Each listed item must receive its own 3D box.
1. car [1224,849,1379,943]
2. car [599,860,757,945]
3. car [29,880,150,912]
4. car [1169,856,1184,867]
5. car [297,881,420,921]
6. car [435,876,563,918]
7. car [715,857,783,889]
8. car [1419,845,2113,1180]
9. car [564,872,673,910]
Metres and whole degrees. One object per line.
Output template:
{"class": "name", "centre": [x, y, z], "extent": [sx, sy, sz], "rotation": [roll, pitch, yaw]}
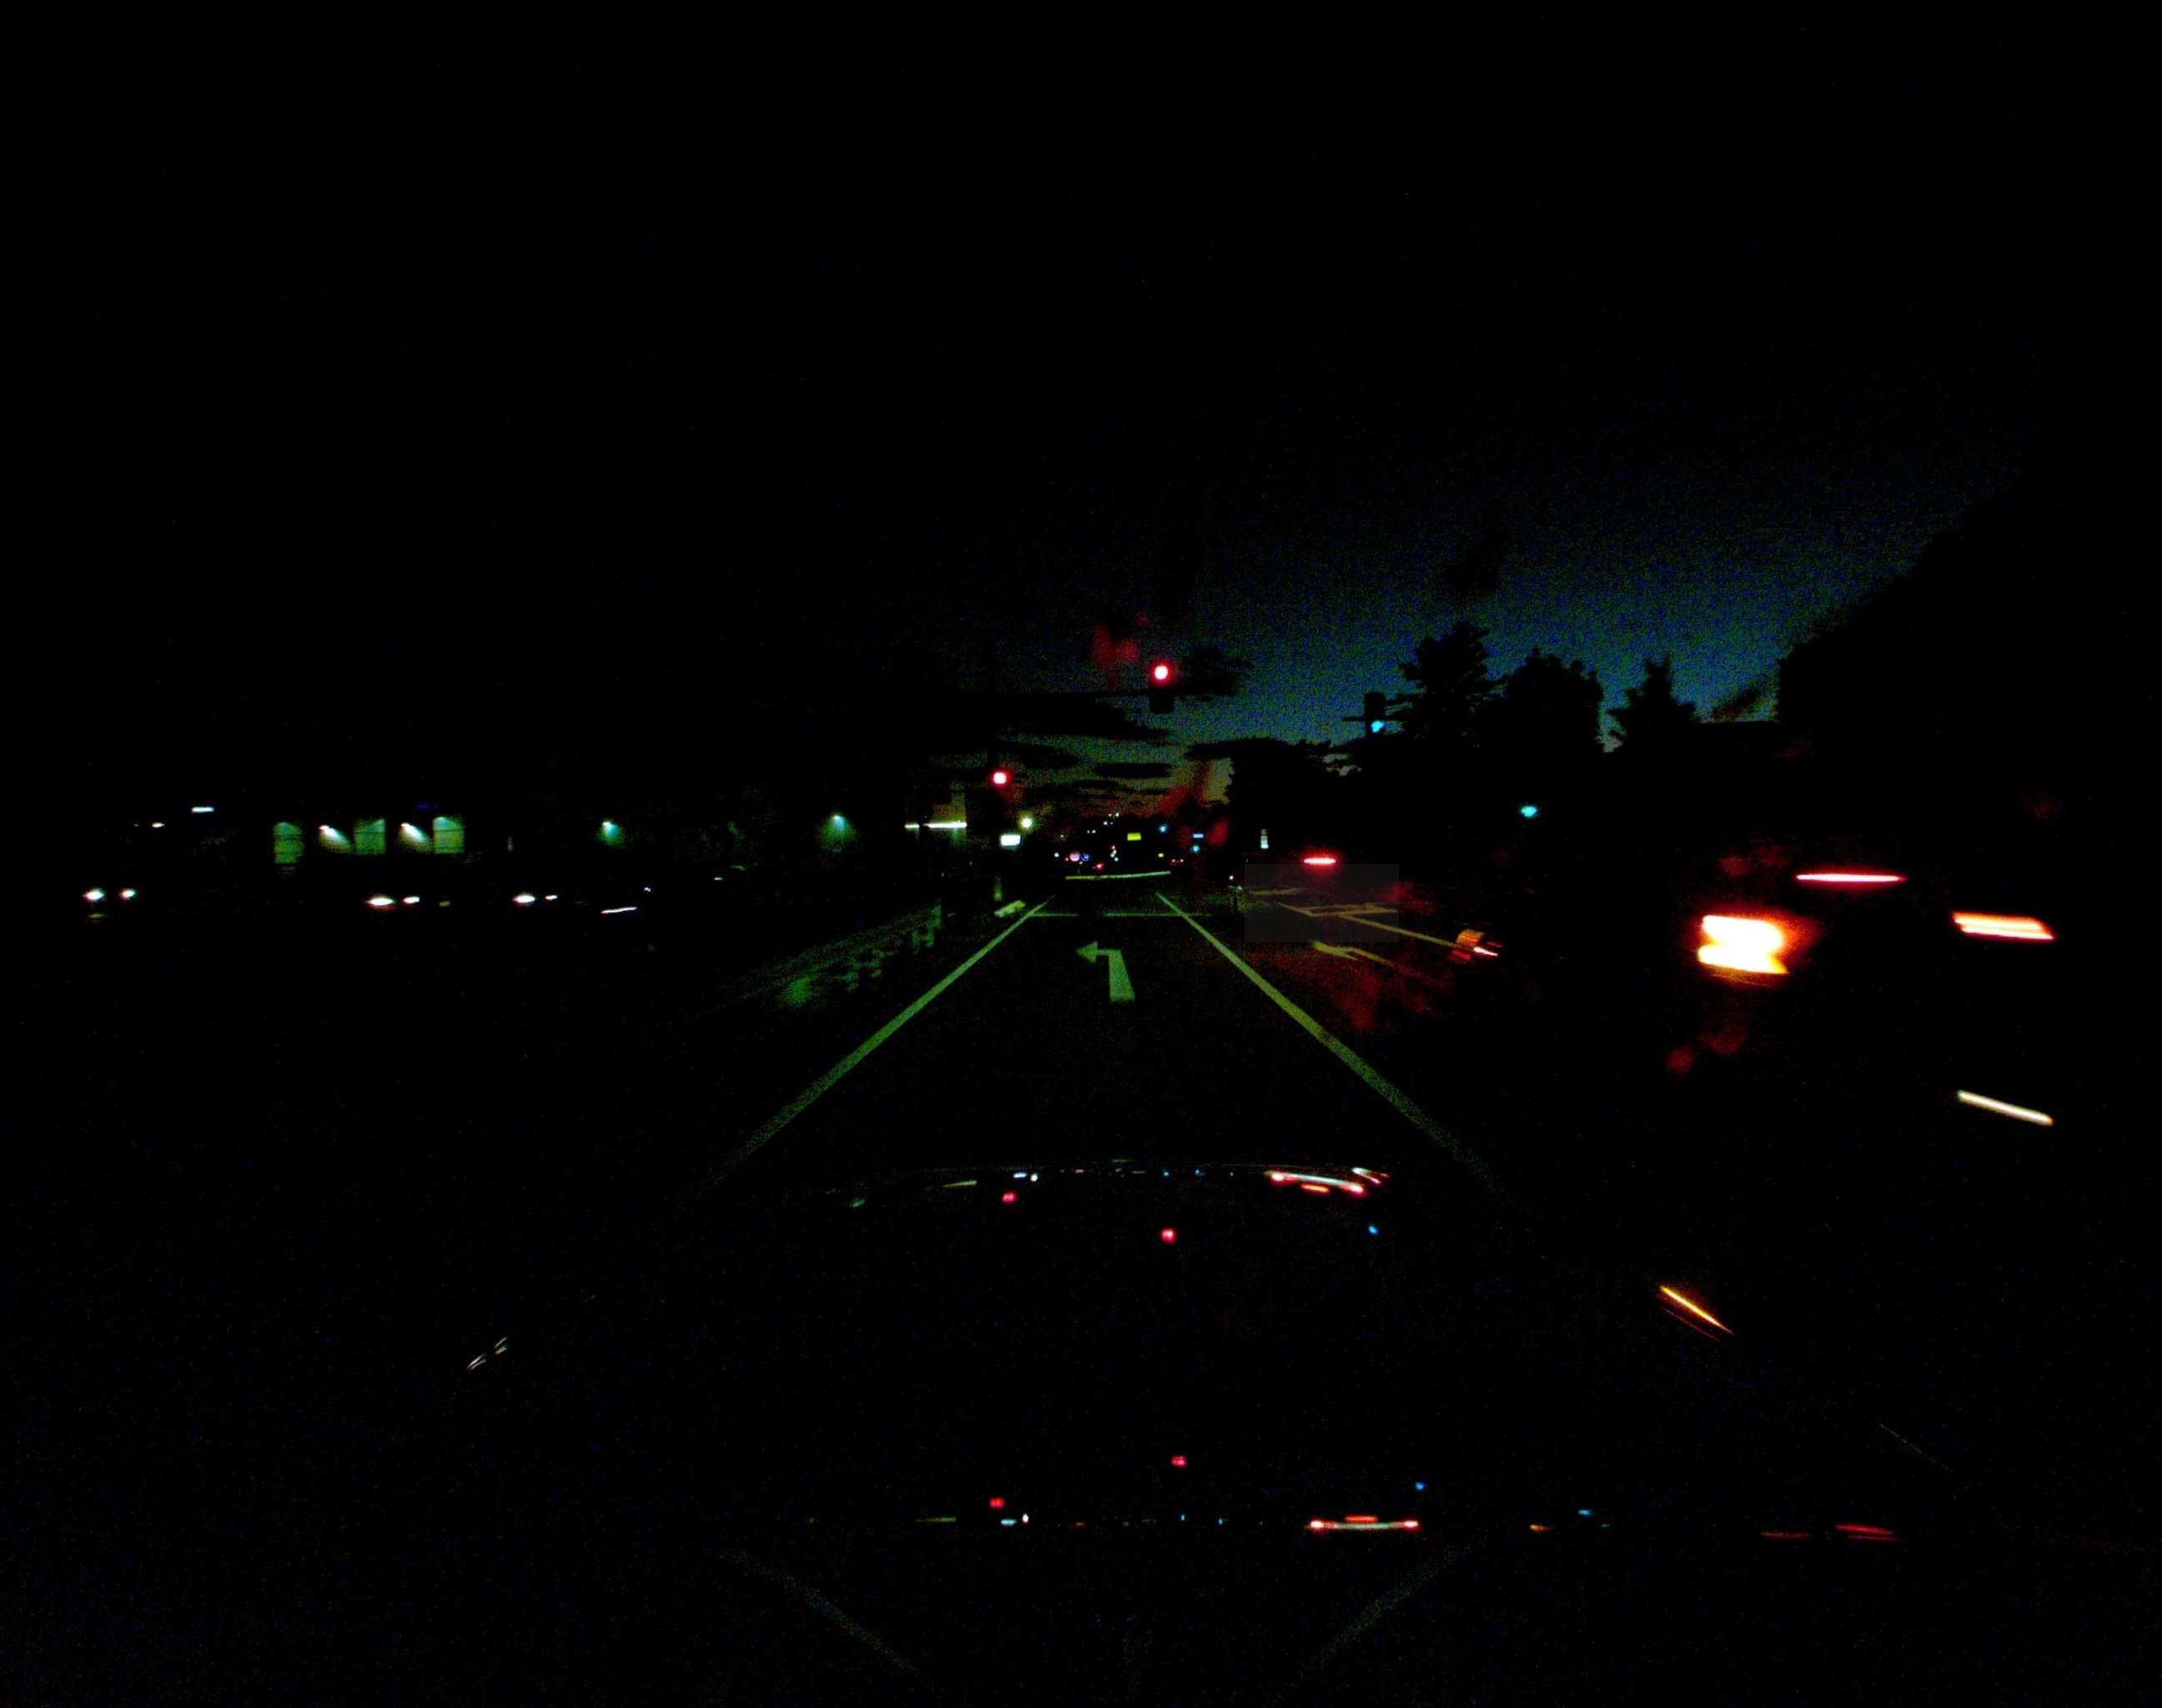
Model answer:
{"class": "car", "centre": [3.859, 0.654, 14.981], "extent": [1.752, 1.459, 4.193], "rotation": [-1, 0, 1]}
{"class": "car", "centre": [-8.654, 0.969, 17.831], "extent": [1.540, 1.519, 3.517], "rotation": [-4, 0, 1]}
{"class": "car", "centre": [-49.149, 2.063, 40.427], "extent": [3.964, 1.398, 2.005], "rotation": [-2, 0, 8]}
{"class": "car", "centre": [14.781, 1.108, 126.439], "extent": [1.928, 1.646, 4.001], "rotation": [-2, 0, 1]}
{"class": "car", "centre": [-29.699, 1.922, 33.527], "extent": [3.777, 1.459, 1.694], "rotation": [-1, 1, 9]}
{"class": "car", "centre": [-22.918, 1.682, 32.107], "extent": [3.963, 1.460, 1.764], "rotation": [-2, -1, 9]}
{"class": "car", "centre": [-21.977, 1.227, 53.944], "extent": [4.010, 2.014, 1.982], "rotation": [0, -1, -28]}
{"class": "car", "centre": [3.717, 0.681, 5.303], "extent": [1.647, 1.450, 3.491], "rotation": [-1, 0, 1]}
{"class": "car", "centre": [-20.368, 1.612, 35.948], "extent": [3.837, 1.474, 1.708], "rotation": [-3, -1, 7]}
